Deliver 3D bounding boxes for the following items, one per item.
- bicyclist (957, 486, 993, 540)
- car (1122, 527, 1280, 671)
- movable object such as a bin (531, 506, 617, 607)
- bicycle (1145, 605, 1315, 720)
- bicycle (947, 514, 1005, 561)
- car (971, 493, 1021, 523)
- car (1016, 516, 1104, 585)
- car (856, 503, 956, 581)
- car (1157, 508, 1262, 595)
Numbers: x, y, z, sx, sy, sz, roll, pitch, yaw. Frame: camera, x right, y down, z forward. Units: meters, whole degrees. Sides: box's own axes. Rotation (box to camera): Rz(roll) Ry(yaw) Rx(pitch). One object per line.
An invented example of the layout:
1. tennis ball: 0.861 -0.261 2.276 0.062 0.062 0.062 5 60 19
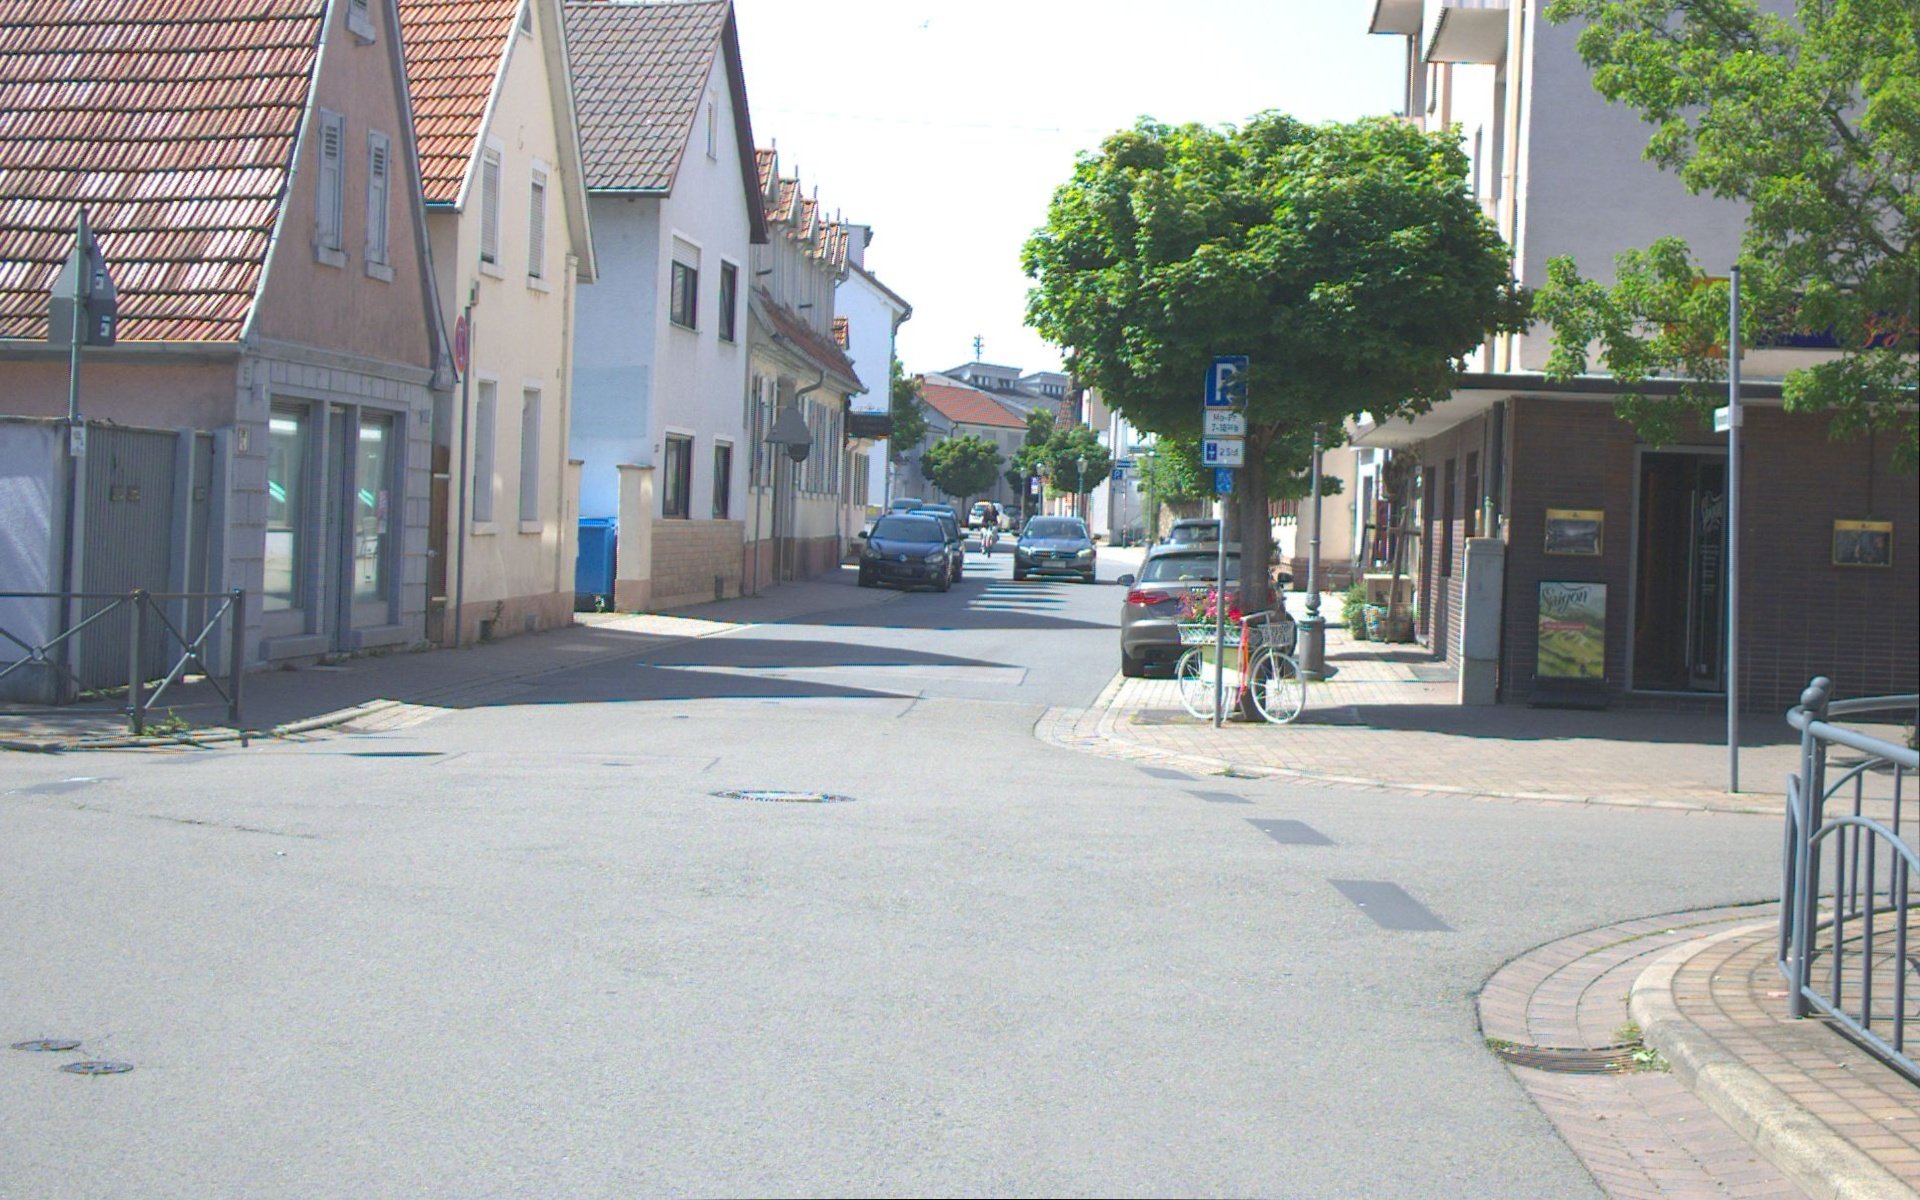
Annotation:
1. bicyclist: 0.465 -2.709 107.232 1.046 1.632 1.128 1 1 -2
2. car: 2.657 -0.046 37.403 1.576 1.449 3.485 2 1 6
3. movable object such as a bin: -5.345 -0.610 47.627 1.102 1.361 0.390 2 1 8
4. bicycle: 2.256 0.515 28.793 1.413 0.894 0.464 2 2 41
5. bicycle: 0.487 -1.962 107.171 1.623 1.366 3.926 1 2 -2
6. car: 2.028 -5.147 193.274 2.028 1.592 4.507 2 2 11
7. car: 2.290 -1.127 78.706 1.909 1.476 4.844 2 1 2
8. car: -1.050 -1.172 68.768 1.663 1.471 4.134 2 2 3
9. car: 5.150 -1.032 71.163 2.043 1.683 4.841 2 2 4
